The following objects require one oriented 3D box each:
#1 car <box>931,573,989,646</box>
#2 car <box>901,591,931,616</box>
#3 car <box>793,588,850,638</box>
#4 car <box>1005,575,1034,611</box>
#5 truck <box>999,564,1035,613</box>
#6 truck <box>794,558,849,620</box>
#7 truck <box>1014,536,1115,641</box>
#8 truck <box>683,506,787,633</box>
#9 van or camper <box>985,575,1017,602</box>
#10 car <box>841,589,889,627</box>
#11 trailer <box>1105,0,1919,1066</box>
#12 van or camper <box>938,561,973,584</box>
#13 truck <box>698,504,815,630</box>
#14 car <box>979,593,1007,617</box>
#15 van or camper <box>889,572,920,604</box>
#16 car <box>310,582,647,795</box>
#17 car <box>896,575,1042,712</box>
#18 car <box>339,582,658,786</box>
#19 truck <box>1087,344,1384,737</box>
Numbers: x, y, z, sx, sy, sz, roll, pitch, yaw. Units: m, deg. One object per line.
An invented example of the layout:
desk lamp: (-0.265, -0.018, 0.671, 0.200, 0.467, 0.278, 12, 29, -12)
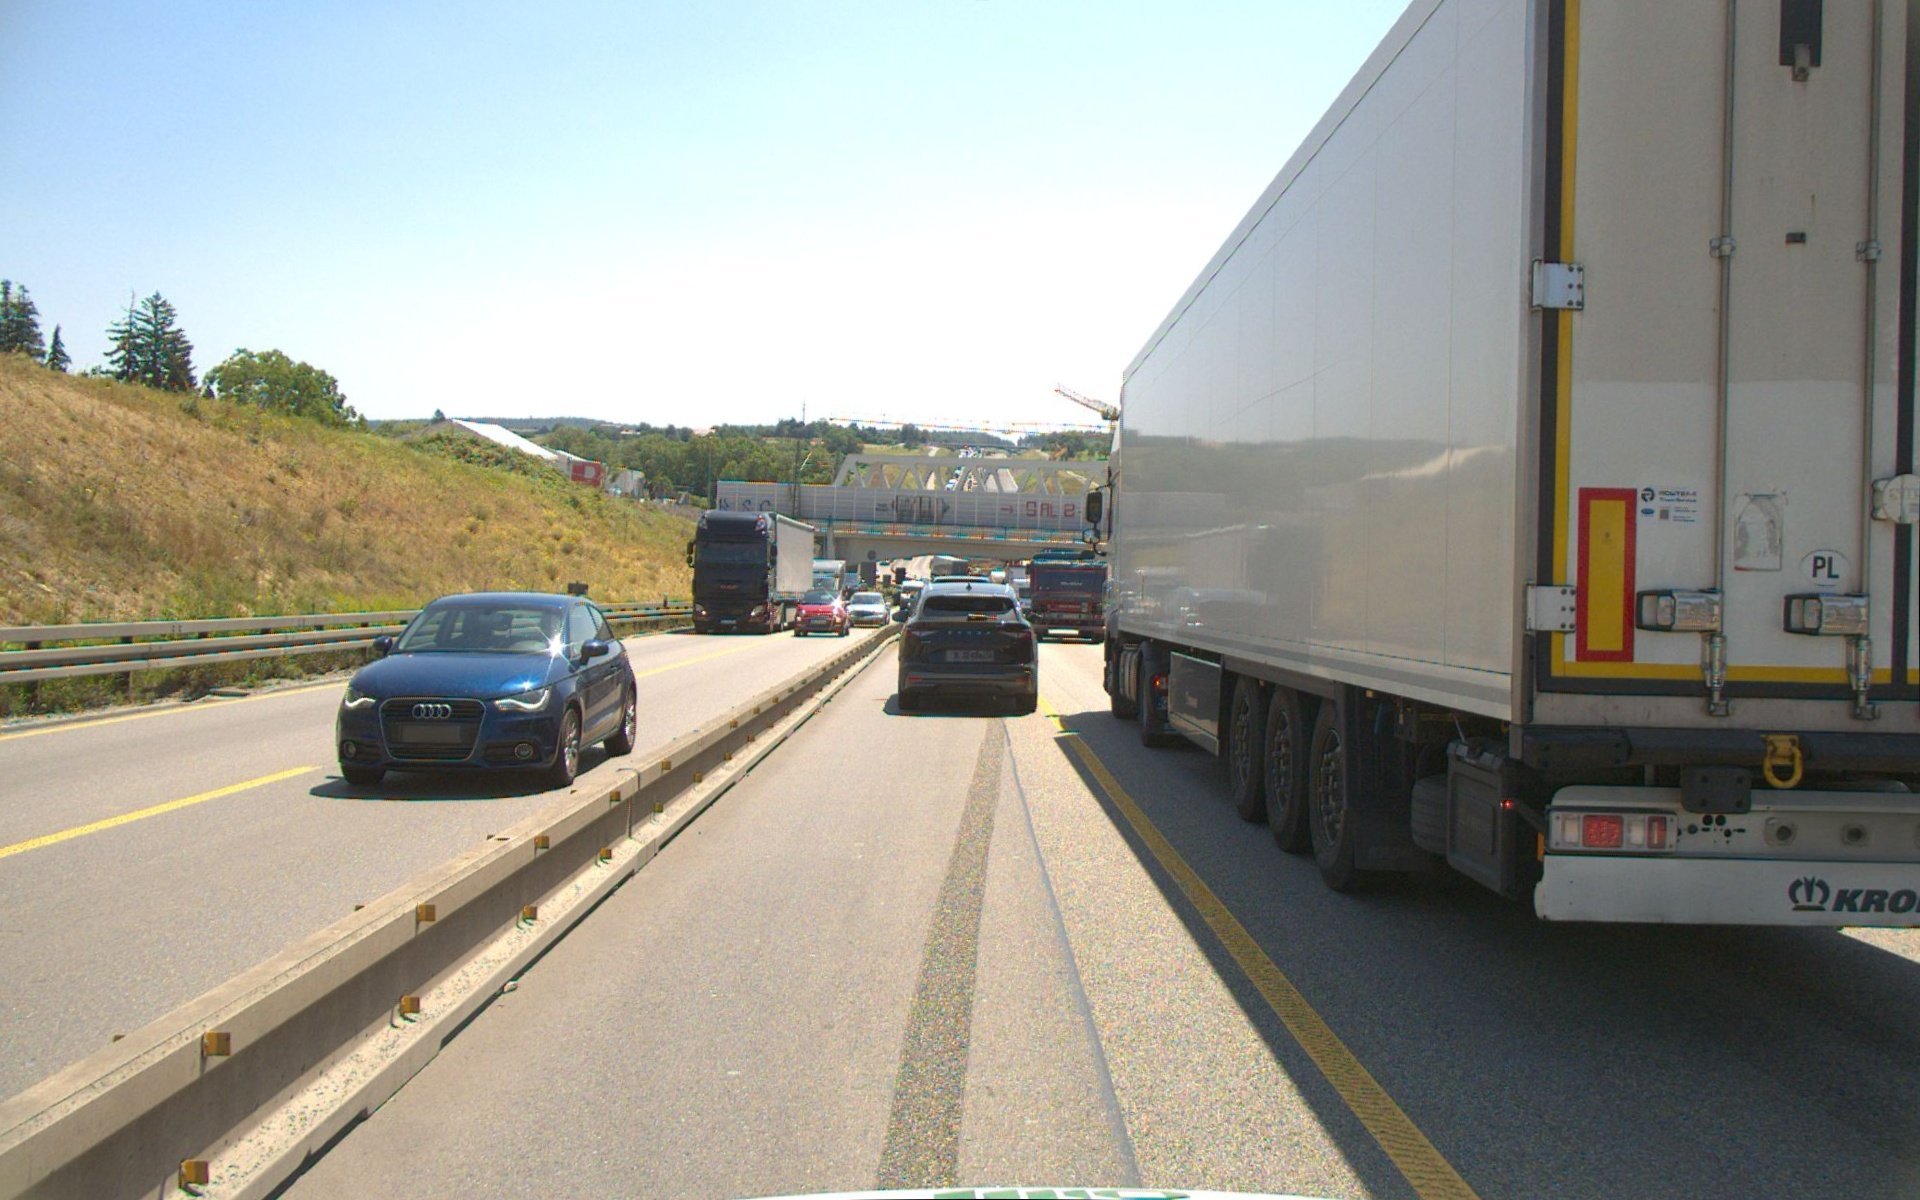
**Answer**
car: (0.008, 0.231, 43.863, 1.444, 1.826, 3.297, 1, 0, 0)
car: (-2.675, 0.182, 100.423, 1.631, 1.453, 4.000, 0, 0, 1)
car: (-4.423, 0.391, 53.142, 1.558, 1.513, 3.295, 1, 0, 0)
car: (4.045, -0.475, 112.519, 1.628, 2.309, 3.795, 2, 0, -2)
truck: (5.224, -1.058, 153.348, 3.110, 4.393, 9.258, 1, 0, 1)
truck: (-6.814, -0.537, 81.952, 2.222, 2.932, 5.851, 1, 0, 0)
truck: (3.452, -0.394, 57.722, 2.756, 3.189, 12.838, 1, 0, 0)
truck: (-7.429, -0.990, 55.196, 2.711, 3.952, 4.963, 1, 0, 0)
van or camper: (5.430, -1.605, 222.392, 3.863, 3.479, 8.405, 1, 1, -1)
car: (-3.940, 0.308, 69.243, 1.789, 1.513, 4.196, 1, 0, 0)
trailer: (3.125, -0.584, 12.428, 2.744, 4.129, 14.116, 1, 0, 0)
van or camper: (-0.711, -4.321, 256.815, 3.872, 3.479, 8.385, 1, 1, -11)
truck: (-7.470, -1.160, 62.807, 2.711, 4.159, 13.805, 1, 0, 0)
car: (1.938, 0.282, 98.448, 1.461, 1.354, 3.243, 2, 0, -2)
van or camper: (-4.522, -0.986, 135.192, 2.170, 2.524, 4.751, 1, 0, 1)
car: (-3.688, 0.597, 13.347, 1.650, 1.455, 3.849, 1, 0, -1)
car: (0.098, 0.513, 21.865, 1.763, 1.648, 3.297, 1, 1, 0)
car: (-3.608, 0.589, 13.568, 1.655, 1.427, 3.686, 1, 0, -2)
truck: (3.117, -0.643, 20.039, 2.720, 4.129, 4.904, 1, 0, 0)
